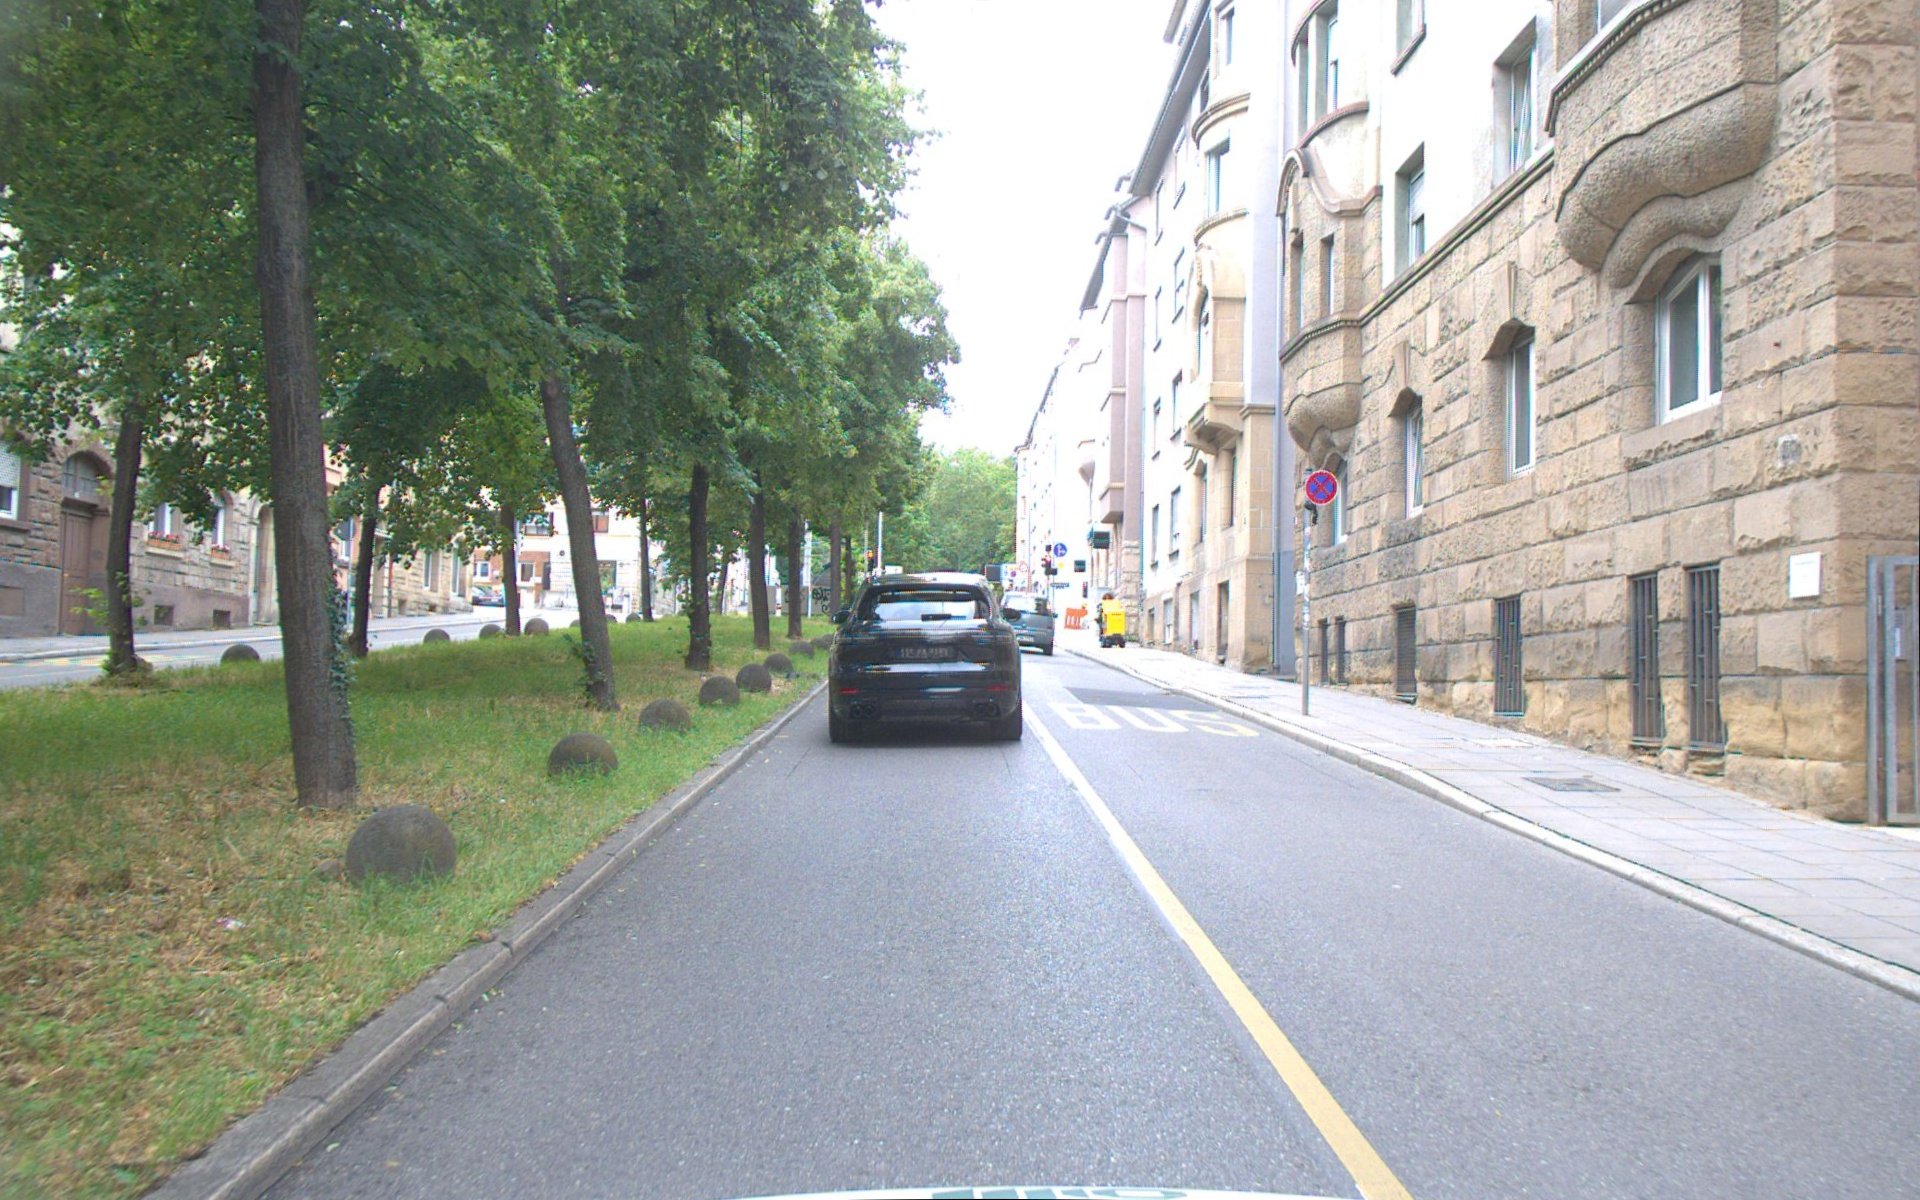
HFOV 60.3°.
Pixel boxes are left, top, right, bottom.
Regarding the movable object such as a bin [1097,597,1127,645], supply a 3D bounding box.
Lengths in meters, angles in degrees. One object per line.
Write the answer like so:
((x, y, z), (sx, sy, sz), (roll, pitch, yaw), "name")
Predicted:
((4.713, 0.660, 51.496), (0.705, 1.446, 1.692), (0, -1, -3), "movable object such as a bin")

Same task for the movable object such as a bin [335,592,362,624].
((-18.250, 0.237, 49.366), (0.597, 0.920, 0.601), (2, 0, -5), "movable object such as a bin")

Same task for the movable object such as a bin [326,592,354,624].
((-18.226, 0.235, 48.604), (0.597, 0.920, 0.601), (2, 0, -5), "movable object such as a bin")

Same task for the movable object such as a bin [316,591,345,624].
((-18.228, 0.226, 47.887), (0.597, 0.920, 0.601), (2, 0, -5), "movable object such as a bin")

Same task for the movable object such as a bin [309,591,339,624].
((-18.171, 0.221, 47.256), (0.597, 0.920, 0.601), (2, 0, -5), "movable object such as a bin")

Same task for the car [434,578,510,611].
((-26.727, -0.282, 90.538), (3.916, 1.694, 1.877), (0, -2, 33), "car")

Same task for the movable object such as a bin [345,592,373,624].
((-18.195, 0.241, 50.082), (0.597, 0.920, 0.601), (2, 0, -5), "movable object such as a bin")

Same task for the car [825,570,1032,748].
((-0.294, 0.547, 17.685), (1.953, 1.681, 4.000), (0, 0, 0), "car")

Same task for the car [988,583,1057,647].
((1.678, 0.374, 45.455), (1.716, 1.621, 3.630), (2, 1, 0), "car")
